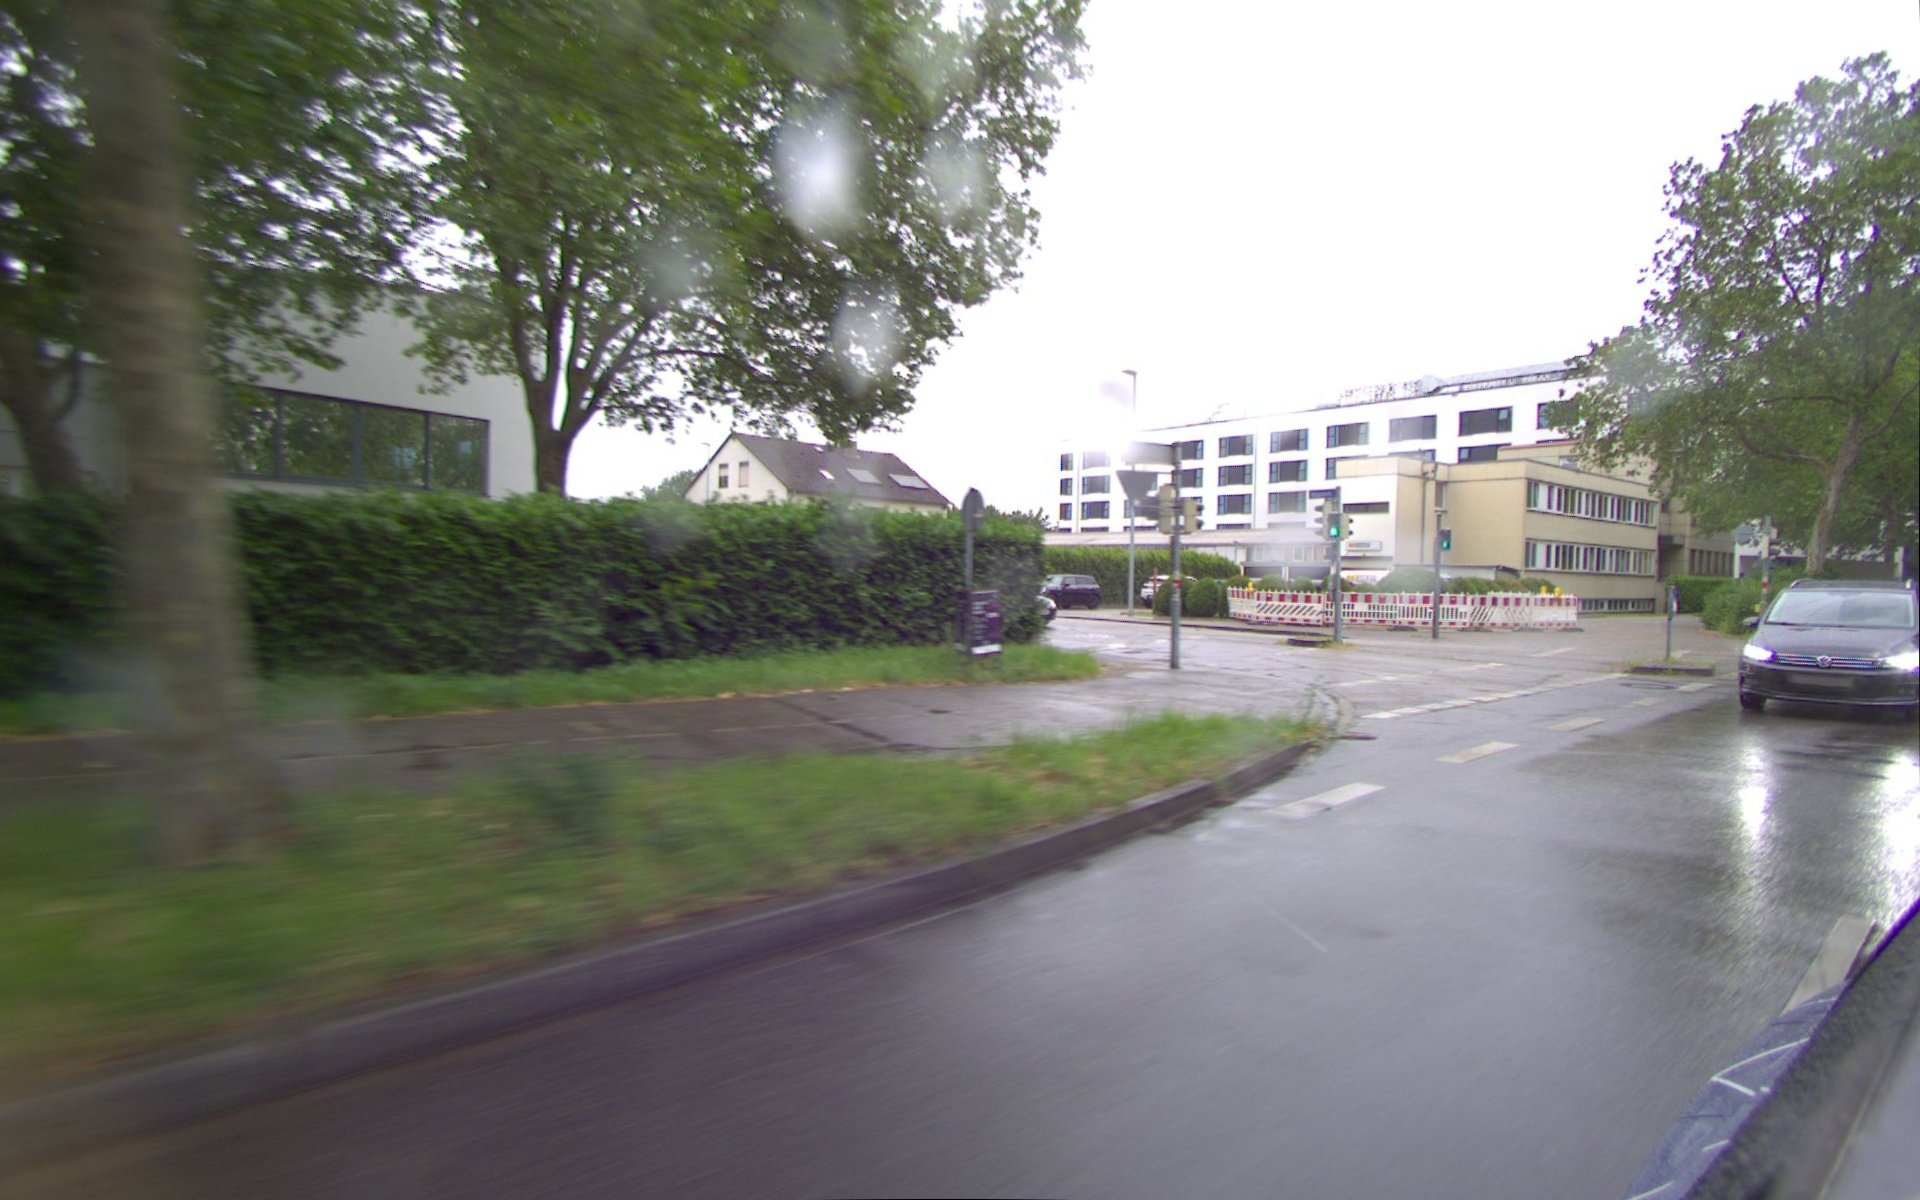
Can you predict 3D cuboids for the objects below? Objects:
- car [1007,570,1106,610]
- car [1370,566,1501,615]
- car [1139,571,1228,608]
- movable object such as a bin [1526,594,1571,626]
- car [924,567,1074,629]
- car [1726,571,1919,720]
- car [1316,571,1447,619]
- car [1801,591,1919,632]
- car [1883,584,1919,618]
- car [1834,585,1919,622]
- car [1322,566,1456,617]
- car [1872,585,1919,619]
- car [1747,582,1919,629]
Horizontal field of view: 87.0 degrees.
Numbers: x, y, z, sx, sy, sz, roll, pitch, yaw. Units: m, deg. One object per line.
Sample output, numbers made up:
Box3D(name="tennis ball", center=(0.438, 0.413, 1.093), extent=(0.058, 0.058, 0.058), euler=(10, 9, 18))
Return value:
Box3D(name="car", center=(4.063, -0.427, 42.385), extent=(3.989, 1.551, 1.824), euler=(0, 3, -40))
Box3D(name="car", center=(19.423, -0.435, 41.493), extent=(1.717, 1.778, 4.550), euler=(0, 3, -38))
Box3D(name="car", center=(10.484, -0.488, 47.252), extent=(4.229, 1.610, 1.824), euler=(0, 3, -40))
Box3D(name="movable object such as a bin", center=(19.454, 0.314, 33.453), extent=(0.697, 0.981, 1.078), euler=(0, 2, -17))
Box3D(name="car", center=(1.028, -0.117, 28.647), extent=(1.819, 1.501, 4.389), euler=(-1, 3, -38))
Box3D(name="car", center=(12.098, 0.477, 13.534), extent=(5.495, 1.614, 1.996), euler=(0, 2, -43))
Box3D(name="car", center=(15.780, -0.246, 38.099), extent=(1.790, 1.609, 4.312), euler=(-1, 3, -30))
Box3D(name="car", center=(36.429, 0.455, 40.659), extent=(3.655, 1.434, 1.734), euler=(3, 2, 26))
Box3D(name="car", center=(47.525, 0.098, 48.822), extent=(3.995, 1.558, 1.735), euler=(3, 2, 24))
Box3D(name="car", center=(39.204, 0.150, 42.300), extent=(3.655, 1.434, 1.760), euler=(3, 2, 26))
Box3D(name="car", center=(16.966, -0.373, 40.204), extent=(1.750, 1.778, 4.546), euler=(0, 3, -41))
Box3D(name="car", center=(43.654, 0.131, 45.436), extent=(3.661, 1.434, 1.731), euler=(3, 2, 30))
Box3D(name="car", center=(31.829, 0.155, 37.050), extent=(4.458, 1.476, 1.731), euler=(3, 2, 30))
